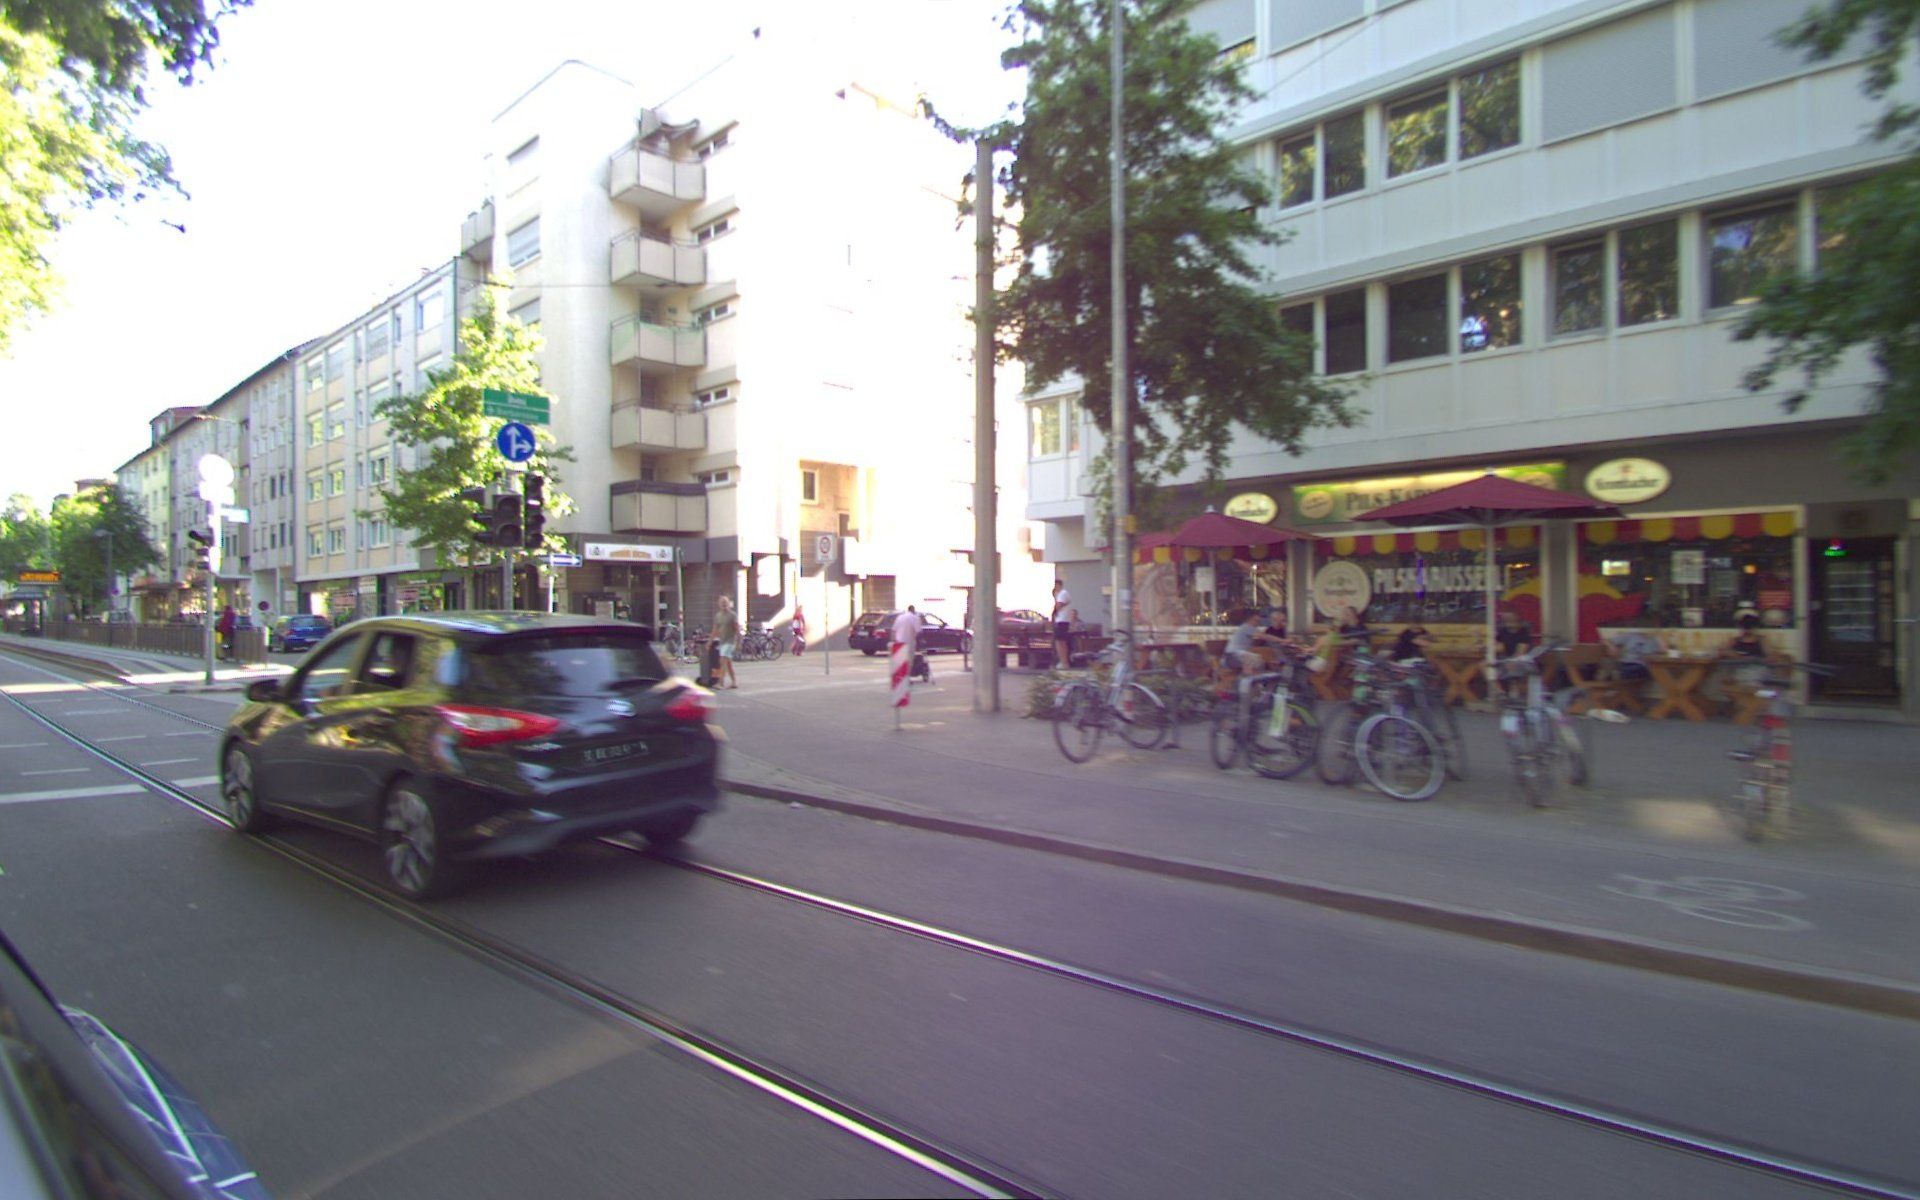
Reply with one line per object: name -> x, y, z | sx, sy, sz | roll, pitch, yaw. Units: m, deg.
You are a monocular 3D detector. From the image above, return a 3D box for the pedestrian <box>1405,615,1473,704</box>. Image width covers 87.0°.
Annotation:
pedestrian -> 6.663, 0.812, 14.108 | 0.684, 1.207, 0.601 | 0, -1, 8

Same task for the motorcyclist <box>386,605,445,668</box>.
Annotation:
motorcyclist -> -12.938, 0.866, 24.037 | 1.014, 1.451, 0.866 | -1, -2, 35

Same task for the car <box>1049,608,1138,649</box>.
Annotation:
car -> 5.356, 1.108, 40.285 | 1.892, 1.515, 3.734 | -1, -1, 38

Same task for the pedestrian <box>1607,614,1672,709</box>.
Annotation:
pedestrian -> 8.915, 0.789, 13.274 | 0.624, 1.207, 0.556 | -1, -2, 42

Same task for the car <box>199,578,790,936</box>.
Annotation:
car -> -3.190, 0.768, 6.582 | 4.141, 1.602, 1.853 | -2, -2, 39

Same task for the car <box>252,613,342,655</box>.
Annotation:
car -> -25.889, 1.309, 39.462 | 4.389, 1.556, 1.934 | -1, -2, 43

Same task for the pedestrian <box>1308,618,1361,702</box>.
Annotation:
pedestrian -> 5.518, 0.872, 14.900 | 0.564, 1.207, 0.506 | -2, -2, 44

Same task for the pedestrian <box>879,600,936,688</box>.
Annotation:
pedestrian -> -0.972, 0.800, 18.591 | 0.767, 1.568, 0.718 | -1, -2, 37

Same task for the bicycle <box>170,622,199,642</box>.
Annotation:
bicycle -> -46.305, 1.895, 60.440 | 2.020, 1.165, 0.555 | -1, -1, 27

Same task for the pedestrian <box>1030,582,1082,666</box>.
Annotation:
pedestrian -> 1.959, 0.492, 20.665 | 0.737, 1.672, 0.771 | 1, -1, -32

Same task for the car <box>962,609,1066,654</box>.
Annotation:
car -> 1.996, 1.097, 36.684 | 1.805, 1.515, 3.728 | -1, -1, 43

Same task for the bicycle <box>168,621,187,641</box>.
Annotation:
bicycle -> -47.884, 1.886, 61.907 | 1.749, 1.165, 0.488 | -1, -2, 37

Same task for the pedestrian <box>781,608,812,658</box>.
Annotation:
pedestrian -> -5.197, 1.042, 32.139 | 0.715, 1.568, 0.727 | 0, -1, -38

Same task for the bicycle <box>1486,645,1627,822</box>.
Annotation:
bicycle -> 4.340, 0.884, 7.300 | 0.657, 1.015, 1.812 | -1, 0, 38

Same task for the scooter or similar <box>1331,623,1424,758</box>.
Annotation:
scooter or similar -> 4.018, 0.831, 9.708 | 0.498, 1.185, 1.068 | -1, 0, 41

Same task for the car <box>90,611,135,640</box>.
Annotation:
car -> -58.708, 1.732, 70.073 | 4.048, 1.949, 1.784 | -1, -2, 41

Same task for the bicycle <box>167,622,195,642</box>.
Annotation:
bicycle -> -46.197, 1.897, 60.009 | 2.020, 1.165, 0.555 | -1, -1, 27

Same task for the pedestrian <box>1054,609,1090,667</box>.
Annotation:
pedestrian -> 2.462, 0.829, 22.225 | 0.760, 1.251, 0.747 | 0, -1, 9

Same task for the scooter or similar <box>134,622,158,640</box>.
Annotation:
scooter or similar -> -52.183, 1.981, 64.893 | 1.259, 1.183, 0.445 | 0, -1, 6

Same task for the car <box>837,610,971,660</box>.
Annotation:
car -> -1.773, 1.090, 32.943 | 1.895, 1.515, 4.233 | -1, -1, 43

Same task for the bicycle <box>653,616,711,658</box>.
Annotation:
bicycle -> -8.056, 1.054, 29.450 | 0.568, 1.165, 2.024 | -1, -1, 20

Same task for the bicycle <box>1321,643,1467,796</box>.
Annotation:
bicycle -> 3.569, 0.902, 8.239 | 0.657, 1.015, 1.812 | -1, 0, 38

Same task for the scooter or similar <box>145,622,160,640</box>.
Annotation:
scooter or similar -> -51.127, 1.959, 64.096 | 1.273, 1.183, 0.440 | -1, -2, 38

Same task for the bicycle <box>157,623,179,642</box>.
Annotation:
bicycle -> -49.389, 2.006, 63.116 | 2.034, 1.165, 0.565 | -1, -2, 37

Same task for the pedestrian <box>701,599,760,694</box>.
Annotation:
pedestrian -> -4.196, 0.826, 18.491 | 0.767, 1.684, 0.750 | -1, -2, 37

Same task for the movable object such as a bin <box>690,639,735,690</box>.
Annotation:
movable object such as a bin -> -4.691, 1.210, 19.182 | 0.646, 0.939, 0.535 | -1, -1, 26

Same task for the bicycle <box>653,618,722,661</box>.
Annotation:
bicycle -> -7.638, 1.083, 28.429 | 1.836, 1.165, 0.573 | 1, -1, -43

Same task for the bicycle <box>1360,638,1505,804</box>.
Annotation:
bicycle -> 3.761, 0.878, 7.976 | 0.657, 1.072, 1.812 | -1, 0, 38

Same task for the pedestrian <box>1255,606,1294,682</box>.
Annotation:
pedestrian -> 5.096, 0.709, 16.429 | 0.507, 1.207, 0.562 | 0, -1, 8

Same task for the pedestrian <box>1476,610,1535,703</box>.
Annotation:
pedestrian -> 7.239, 0.738, 13.456 | 0.558, 1.207, 0.511 | -1, -1, 14

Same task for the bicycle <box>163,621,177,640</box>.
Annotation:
bicycle -> -50.880, 1.964, 65.193 | 0.506, 1.165, 1.688 | 1, -2, -44

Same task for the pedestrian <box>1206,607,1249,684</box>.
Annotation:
pedestrian -> 4.281, 0.713, 16.196 | 0.561, 1.207, 0.508 | -1, -1, 26

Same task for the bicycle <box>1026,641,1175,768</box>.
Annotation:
bicycle -> 1.370, 0.943, 9.636 | 0.657, 1.015, 1.675 | -1, 0, 38

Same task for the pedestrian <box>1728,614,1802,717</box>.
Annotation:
pedestrian -> 9.888, 0.782, 12.431 | 0.655, 1.207, 0.665 | -1, -2, 42

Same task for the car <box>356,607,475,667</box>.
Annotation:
car -> -16.916, 1.099, 31.342 | 4.357, 1.663, 1.858 | -1, 1, 42

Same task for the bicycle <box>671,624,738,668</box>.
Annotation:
bicycle -> -7.000, 1.243, 27.750 | 1.759, 1.165, 0.574 | 0, -1, -16

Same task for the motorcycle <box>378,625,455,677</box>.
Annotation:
motorcycle -> -12.889, 1.193, 24.003 | 1.910, 1.173, 0.842 | -1, -1, 35

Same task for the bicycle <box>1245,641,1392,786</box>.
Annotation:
bicycle -> 3.118, 0.911, 8.703 | 0.657, 1.015, 1.812 | -1, 0, 38

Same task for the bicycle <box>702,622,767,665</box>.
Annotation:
bicycle -> -6.335, 1.222, 28.409 | 1.759, 1.165, 0.574 | 0, -1, -16

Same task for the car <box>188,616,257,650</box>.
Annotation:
car -> -34.296, 1.521, 47.026 | 4.282, 1.475, 1.775 | -1, -2, 43

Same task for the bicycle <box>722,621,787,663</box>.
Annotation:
bicycle -> -5.932, 1.199, 29.250 | 1.760, 1.165, 0.573 | 0, -1, -37

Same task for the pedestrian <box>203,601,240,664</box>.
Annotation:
pedestrian -> -19.255, 0.842, 26.399 | 0.772, 1.597, 0.646 | -1, -1, 43

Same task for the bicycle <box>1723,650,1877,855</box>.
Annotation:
bicycle -> 5.244, 0.874, 6.388 | 0.657, 1.015, 1.675 | -1, 0, 38

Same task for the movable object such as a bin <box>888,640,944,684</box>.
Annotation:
movable object such as a bin -> -0.845, 1.186, 19.523 | 0.661, 0.763, 1.188 | -1, 0, 21

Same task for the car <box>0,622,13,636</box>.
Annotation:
car -> -107.141, 3.195, 112.973 | 1.970, 1.541, 3.680 | 1, -2, -44

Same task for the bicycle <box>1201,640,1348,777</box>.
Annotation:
bicycle -> 2.856, 0.911, 9.070 | 0.657, 1.015, 1.812 | -1, 0, 38
